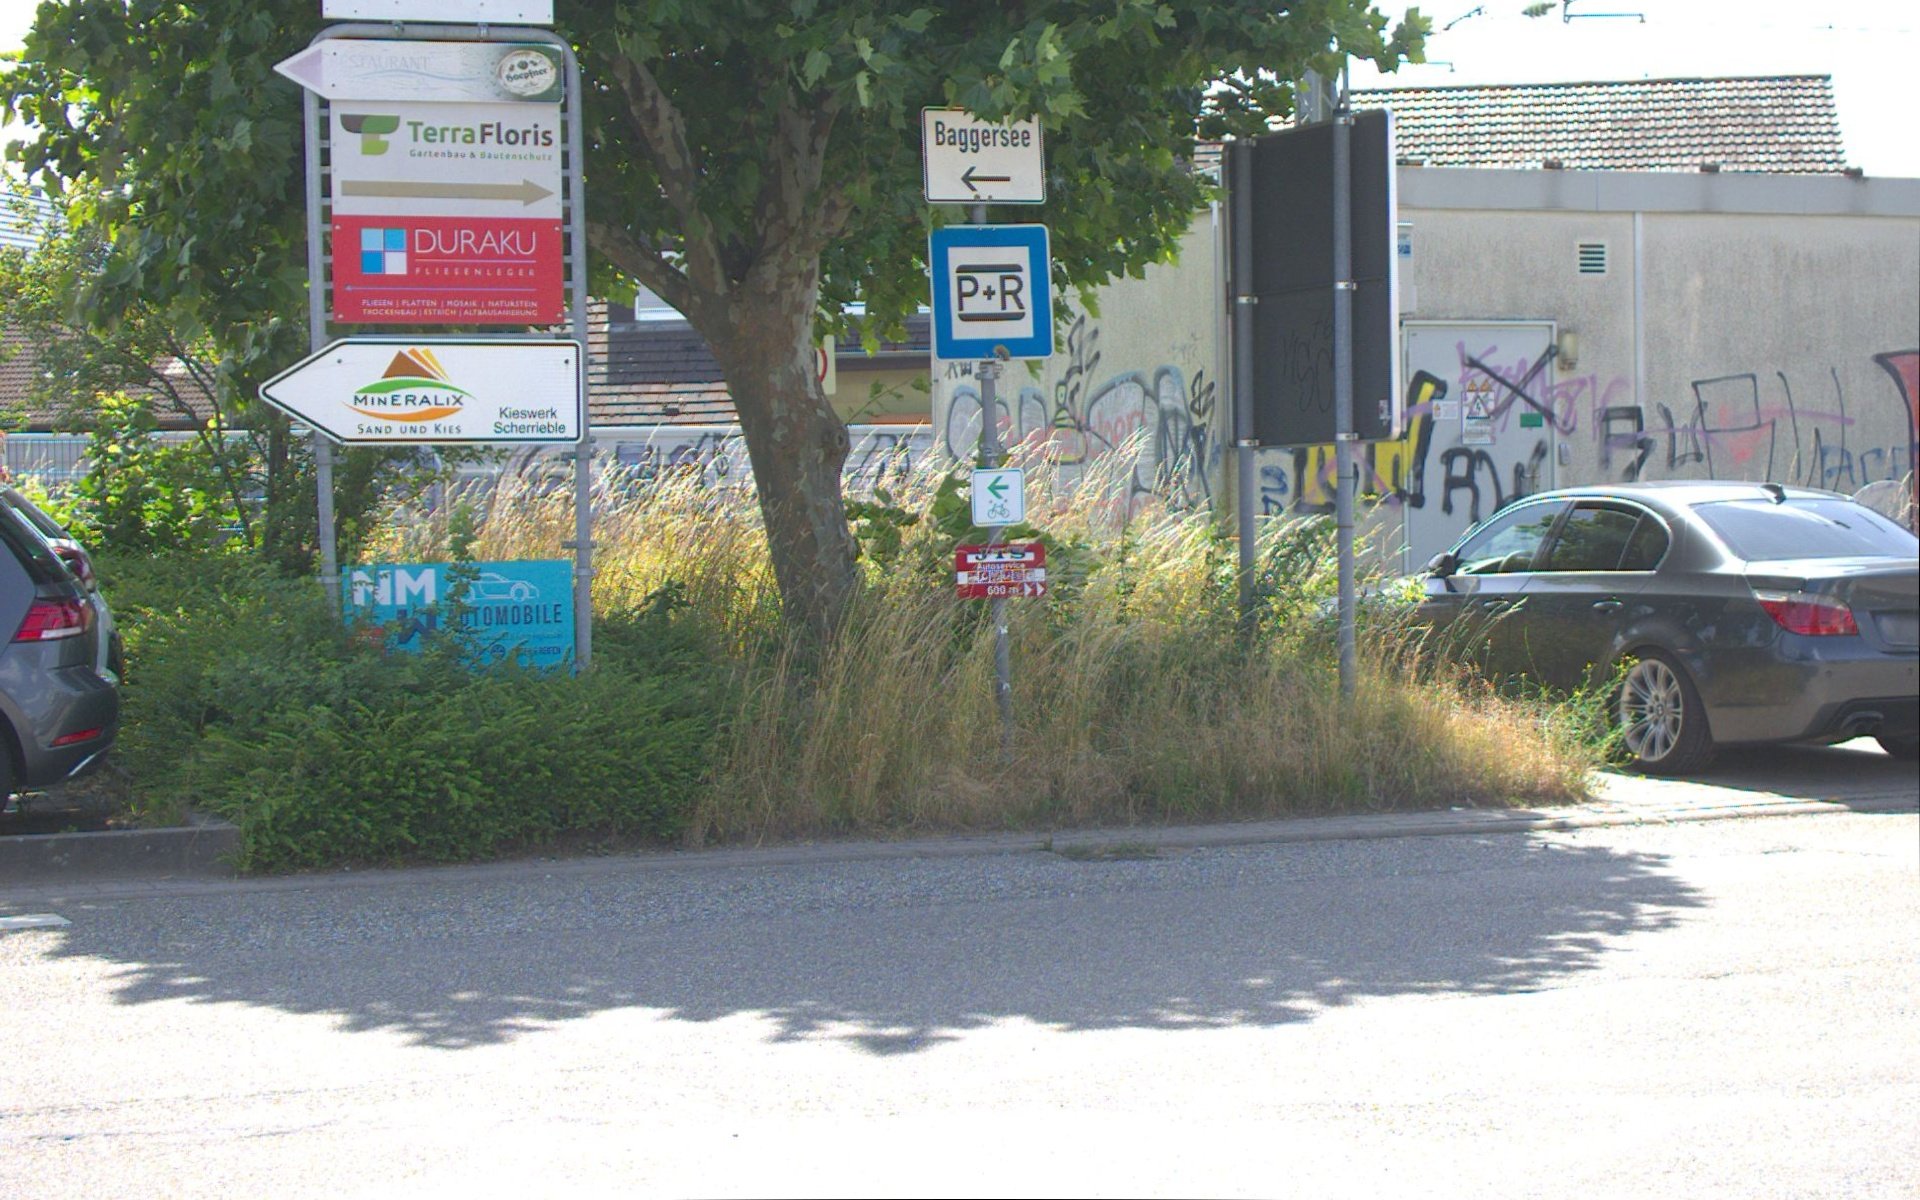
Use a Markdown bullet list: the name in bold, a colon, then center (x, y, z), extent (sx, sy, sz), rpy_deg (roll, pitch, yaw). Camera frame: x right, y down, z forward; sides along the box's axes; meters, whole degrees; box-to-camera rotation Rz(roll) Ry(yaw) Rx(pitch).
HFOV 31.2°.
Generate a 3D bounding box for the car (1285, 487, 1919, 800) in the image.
- **car**: center (3.679, 0.134, 17.837), extent (1.782, 1.406, 4.441), rpy_deg (-2, 2, -29)

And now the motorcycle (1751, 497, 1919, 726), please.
- **motorcycle**: center (5.628, 0.054, 19.509), extent (0.715, 1.276, 2.734), rpy_deg (-1, 2, -24)

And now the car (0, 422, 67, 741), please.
- **car**: center (-6.858, -0.079, 18.095), extent (4.072, 1.631, 2.001), rpy_deg (-1, 2, -17)

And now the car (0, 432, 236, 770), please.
- **car**: center (-5.342, 0.003, 16.313), extent (3.566, 1.531, 1.797), rpy_deg (-1, 2, -17)

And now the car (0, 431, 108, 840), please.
- **car**: center (-5.411, 0.150, 13.201), extent (4.048, 1.525, 1.691), rpy_deg (-1, 2, -17)
